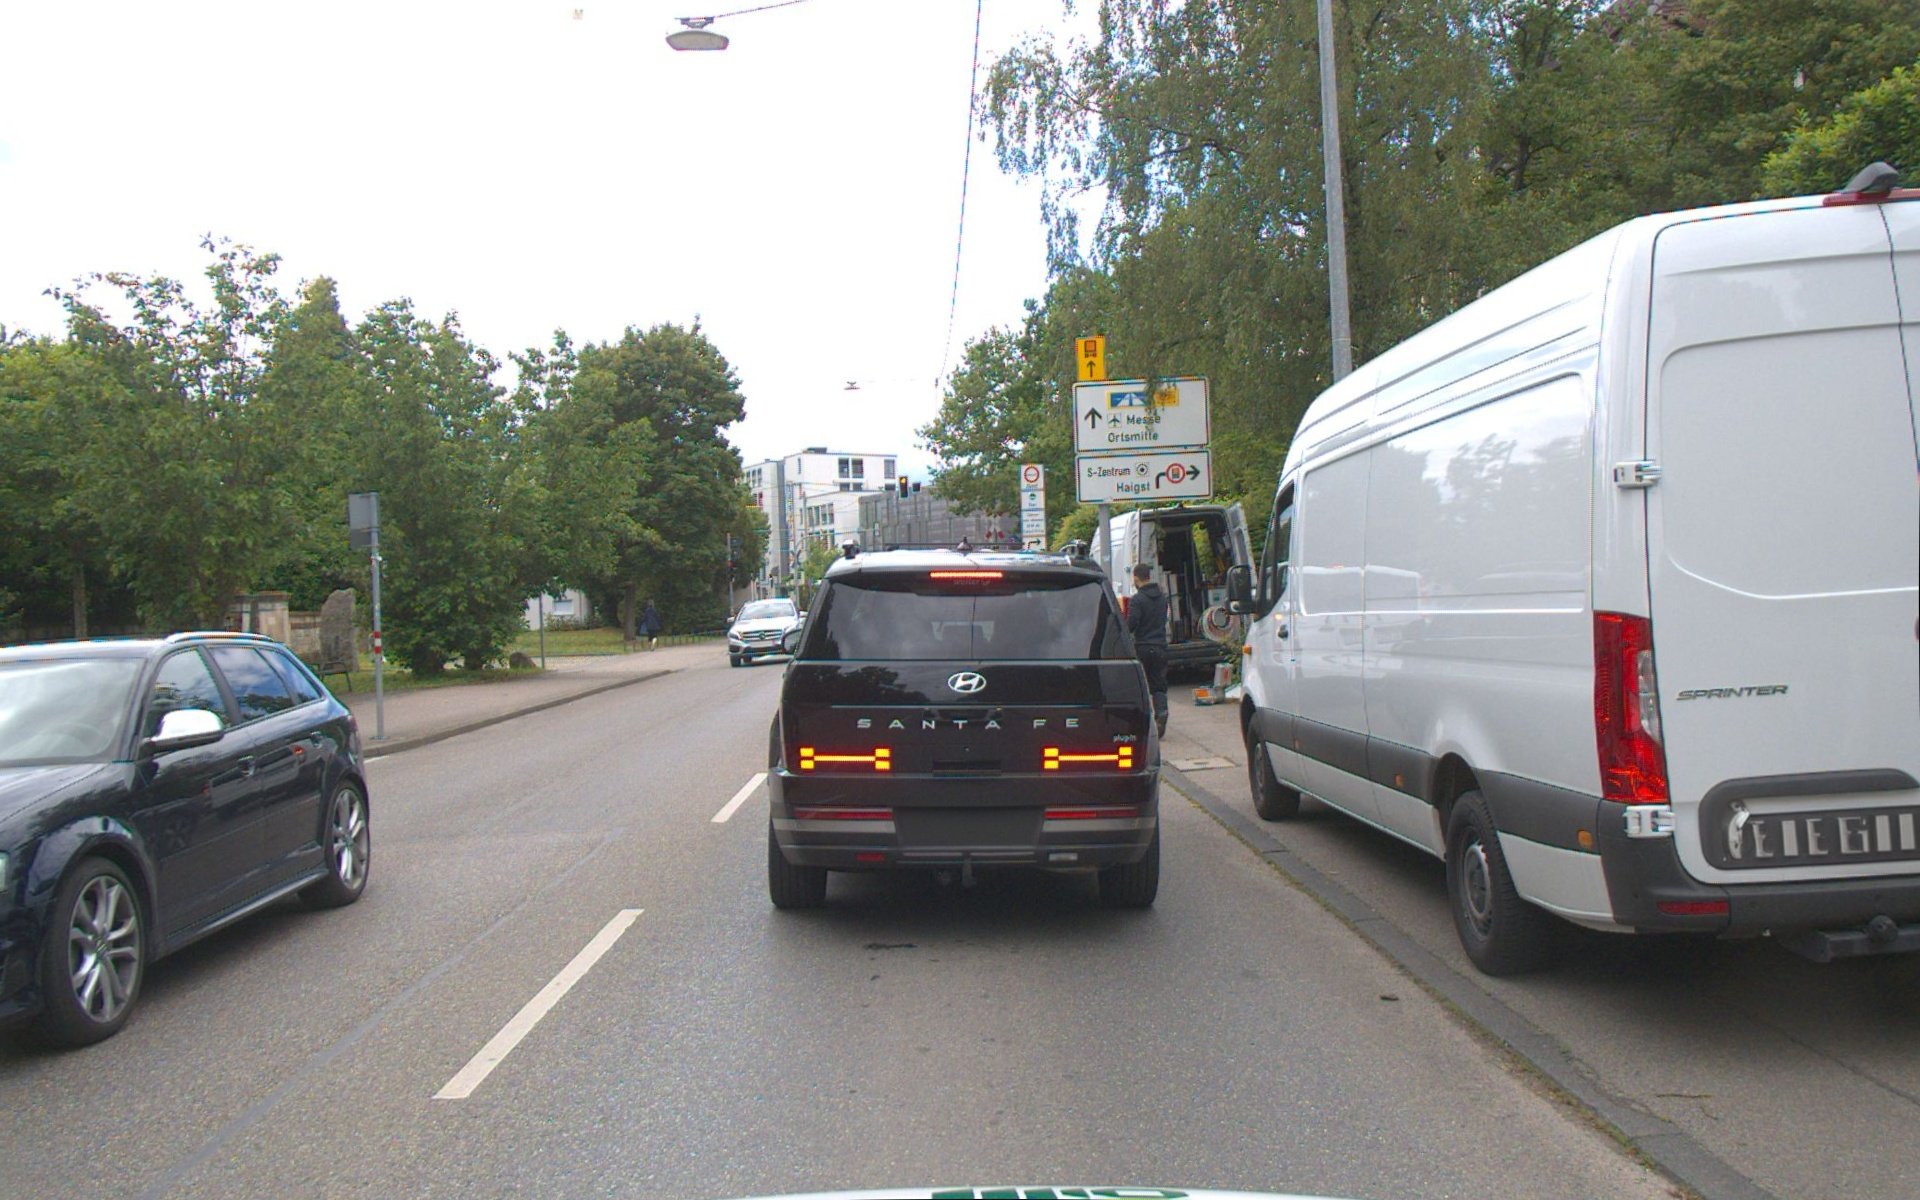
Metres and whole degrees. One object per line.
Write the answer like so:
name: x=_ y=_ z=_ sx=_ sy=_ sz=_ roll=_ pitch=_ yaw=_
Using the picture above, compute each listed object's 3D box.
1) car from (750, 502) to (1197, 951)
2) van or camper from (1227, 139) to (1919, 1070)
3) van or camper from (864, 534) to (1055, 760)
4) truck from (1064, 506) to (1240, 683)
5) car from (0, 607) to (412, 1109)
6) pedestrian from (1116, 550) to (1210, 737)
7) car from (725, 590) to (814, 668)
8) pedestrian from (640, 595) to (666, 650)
car: x=0.030 y=0.517 z=8.870 sx=1.851 sy=1.851 sz=3.999 roll=0 pitch=0 yaw=-1
van or camper: x=2.888 y=-0.017 z=8.065 sx=1.953 sy=2.665 sz=6.540 roll=-2 pitch=0 yaw=-1
van or camper: x=-0.033 y=0.428 z=17.369 sx=1.719 sy=2.049 sz=3.999 roll=-2 pitch=0 yaw=-1
truck: x=3.127 y=-0.075 z=28.087 sx=1.904 sy=2.606 sz=5.212 roll=-3 pitch=0 yaw=-4
car: x=-3.858 y=0.850 z=6.769 sx=1.822 sy=1.478 sz=4.110 roll=-4 pitch=0 yaw=-1
pedestrian: x=2.042 y=0.429 z=16.727 sx=0.743 sy=1.828 sz=0.871 roll=-1 pitch=0 yaw=-6
car: x=-4.623 y=0.664 z=40.653 sx=1.749 sy=1.682 sz=4.118 roll=-4 pitch=0 yaw=-2
pedestrian: x=-9.892 y=0.718 z=53.289 sx=0.724 sy=1.745 sz=0.791 roll=-2 pitch=0 yaw=-8
